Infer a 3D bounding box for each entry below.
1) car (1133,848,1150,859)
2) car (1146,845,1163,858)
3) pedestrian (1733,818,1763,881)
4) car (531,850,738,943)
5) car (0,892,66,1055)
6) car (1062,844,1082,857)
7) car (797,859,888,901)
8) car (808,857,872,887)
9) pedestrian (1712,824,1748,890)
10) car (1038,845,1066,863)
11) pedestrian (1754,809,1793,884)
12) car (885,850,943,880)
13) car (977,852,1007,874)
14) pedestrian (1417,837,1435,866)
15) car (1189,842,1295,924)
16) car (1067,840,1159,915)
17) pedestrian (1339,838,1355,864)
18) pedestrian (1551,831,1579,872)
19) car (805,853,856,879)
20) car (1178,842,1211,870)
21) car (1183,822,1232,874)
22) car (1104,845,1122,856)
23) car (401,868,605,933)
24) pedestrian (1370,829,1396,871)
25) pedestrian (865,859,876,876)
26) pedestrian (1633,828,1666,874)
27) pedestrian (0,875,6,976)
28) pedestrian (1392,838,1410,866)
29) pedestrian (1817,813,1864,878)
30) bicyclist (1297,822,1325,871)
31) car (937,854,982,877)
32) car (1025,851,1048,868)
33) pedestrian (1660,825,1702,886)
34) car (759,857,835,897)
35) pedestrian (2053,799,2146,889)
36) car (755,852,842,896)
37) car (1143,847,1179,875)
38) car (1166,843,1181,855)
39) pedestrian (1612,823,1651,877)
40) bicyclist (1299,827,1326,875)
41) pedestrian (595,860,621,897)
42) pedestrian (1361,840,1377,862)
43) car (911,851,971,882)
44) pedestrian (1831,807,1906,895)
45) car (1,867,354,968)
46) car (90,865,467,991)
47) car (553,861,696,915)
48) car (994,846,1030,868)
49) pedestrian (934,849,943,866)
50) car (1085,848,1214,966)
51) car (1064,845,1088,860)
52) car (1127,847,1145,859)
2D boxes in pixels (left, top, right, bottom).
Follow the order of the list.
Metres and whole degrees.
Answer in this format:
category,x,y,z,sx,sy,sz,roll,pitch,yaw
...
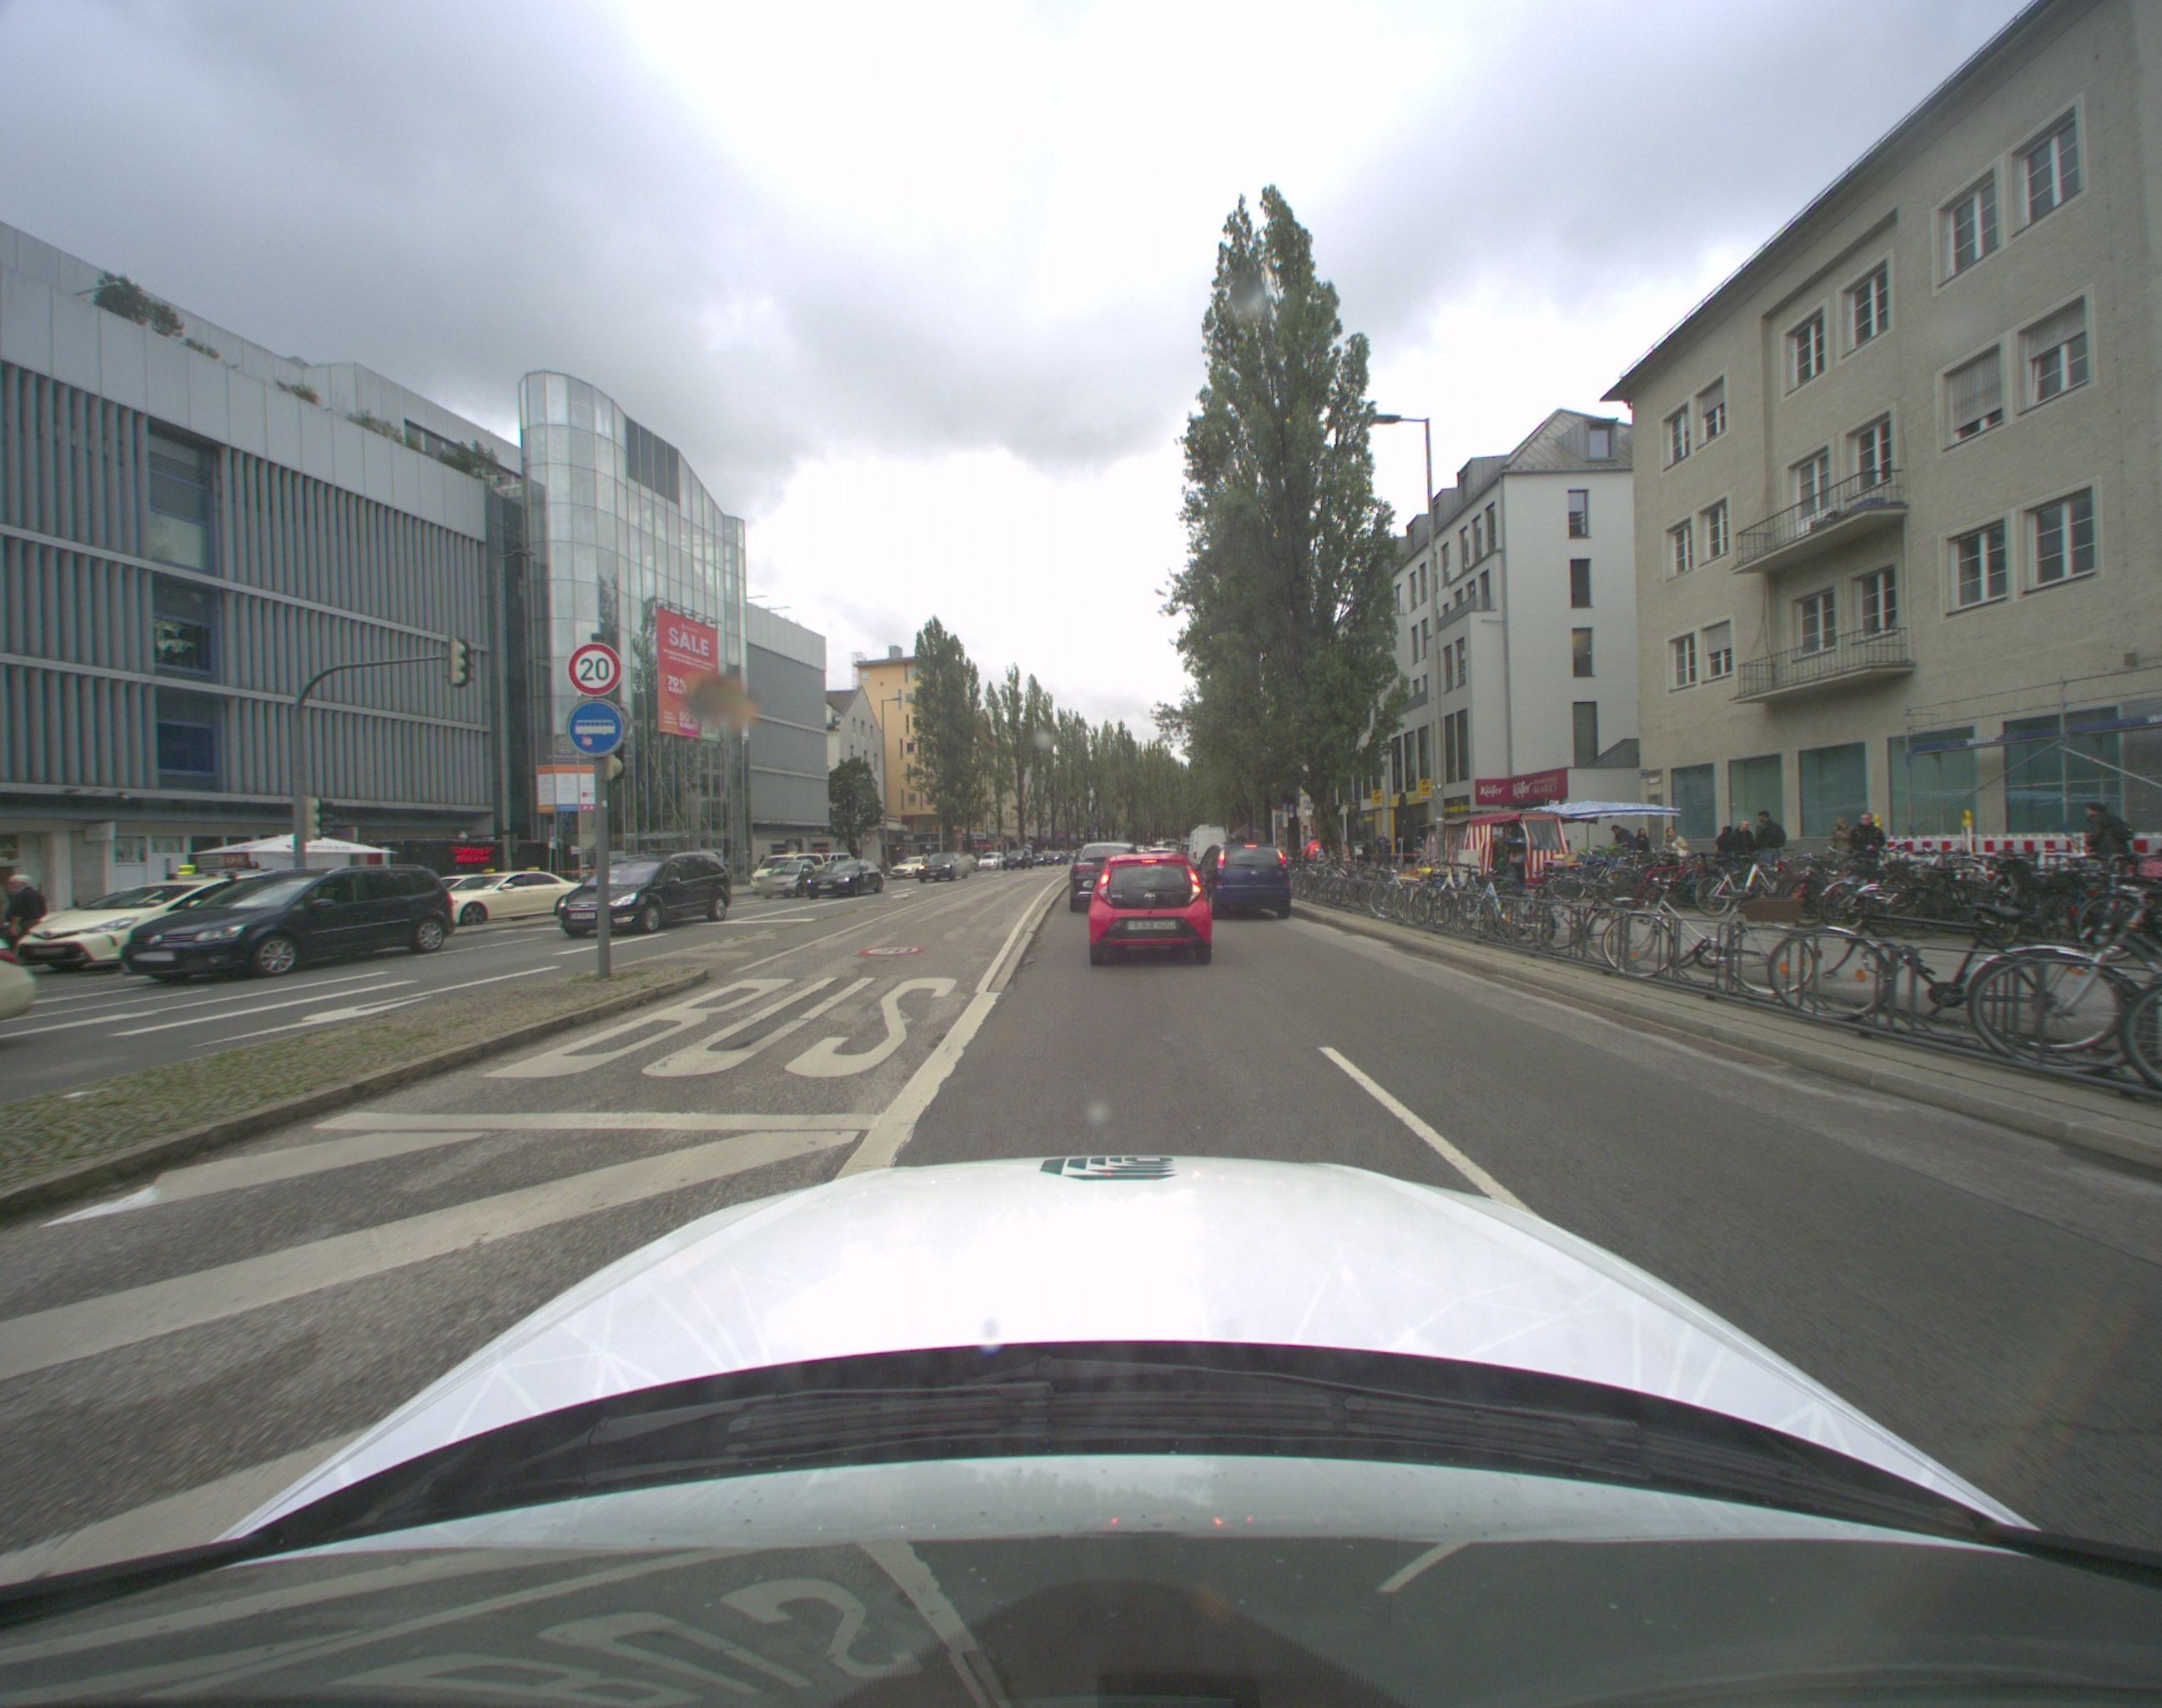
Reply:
category,x,y,z,sx,sy,sz,roll,pitch,yaw
car,9.862,-0.153,132.556,1.979,1.691,4.430,-2,0,14
car,8.084,-0.290,89.628,1.763,1.439,3.946,-2,0,7
pedestrian,16.041,-0.111,19.603,0.501,1.484,0.468,-2,0,36
car,-9.844,0.839,18.485,1.929,1.738,4.591,-3,0,2
car,-10.537,1.113,5.364,1.758,1.421,4.641,-2,0,2
car,-1.175,-0.497,112.182,1.982,1.691,4.933,-2,1,8
car,-9.104,0.940,31.526,1.837,1.382,4.606,-2,0,4
car,-14.013,1.017,47.610,1.984,1.655,4.540,1,0,5
pedestrian,15.126,0.075,18.998,0.573,1.505,0.620,-2,0,33
car,-2.888,-0.008,82.615,1.982,1.691,4.933,-2,0,8
pedestrian,15.823,-0.163,18.617,0.594,1.669,0.690,-2,0,36
car,-11.284,0.706,55.326,1.980,1.816,4.550,-3,1,13
car,-7.908,0.768,72.646,1.846,1.816,4.008,0,0,7
pedestrian,18.923,-0.115,44.685,0.710,1.558,0.676,-2,0,1
car,3.476,0.552,18.146,1.696,1.589,3.557,-2,1,1
car,0.742,0.511,20.112,1.987,1.618,4.001,-2,0,1
pedestrian,16.066,-0.196,49.188,0.710,1.558,0.676,-2,0,1
pedestrian,17.039,-0.101,28.668,0.596,1.402,0.580,-2,0,1
car,-18.642,0.839,60.884,1.858,1.772,4.254,-2,0,10
car,7.225,0.129,52.095,1.696,1.662,3.557,-1,0,1
car,7.057,-0.349,45.880,2.098,2.718,4.807,-2,0,2
car,5.039,-0.577,128.131,1.979,1.691,4.430,-2,0,14
car,-16.393,1.267,23.463,1.981,1.508,4.648,-2,0,10
pedestrian,12.626,-0.157,34.062,0.787,1.727,0.764,-2,0,1
pedestrian,-17.119,1.096,66.197,0.553,1.290,0.630,-2,0,12
pedestrian,17.732,-0.085,25.417,0.572,1.402,0.580,-2,0,1
pedestrian,-19.097,1.257,14.224,0.441,1.759,0.358,-2,0,37
pedestrian,17.687,-0.115,44.993,0.710,1.558,0.676,-2,0,1
pedestrian,19.534,-0.221,20.945,0.638,1.644,0.563,-2,0,1
bicyclist,9.079,-0.296,32.227,0.759,1.869,1.133,-2,0,2
car,-9.363,0.862,63.097,1.980,1.609,4.548,-2,0,12
car,-4.838,0.563,89.276,1.846,1.816,4.008,0,0,7
pedestrian,15.386,0.037,20.918,0.801,1.522,0.805,-2,0,34
car,-11.638,0.959,33.576,1.616,1.552,3.389,-2,-2,6
pedestrian,18.360,-0.176,14.701,0.646,1.568,0.788,-2,0,2
car,-14.356,0.947,41.753,1.984,2.013,5.532,-2,0,6
car,4.483,0.364,45.836,1.694,1.426,3.497,-2,0,1
car,14.297,-0.791,125.239,1.981,1.837,4.011,-2,0,10
pedestrian,14.993,-0.110,22.182,0.612,1.425,0.660,-2,0,6
bicyclist,8.176,-0.117,28.798,0.611,1.657,1.251,-2,0,2
pedestrian,-21.712,1.119,37.401,0.646,1.691,0.714,-2,0,14
pedestrian,16.795,-0.180,47.523,0.636,1.306,0.676,-2,0,1
car,-7.642,0.653,44.988,1.983,1.534,4.597,-2,0,7
pedestrian,16.117,-0.061,16.676,0.739,1.727,0.758,-3,0,1
car,-17.318,1.124,16.033,1.894,1.543,4.395,-2,0,2
car,-12.817,1.068,13.495,1.831,1.613,4.262,-2,0,4
car,-15.833,1.129,28.504,1.979,1.679,4.199,-1,0,14
car,-5.590,0.243,66.586,1.983,1.691,4.930,-1,0,7
pedestrian,-16.020,0.405,91.294,0.683,1.810,0.768,-2,0,13
car,0.939,0.666,11.933,1.598,1.461,3.132,-2,0,2
car,-0.547,-0.144,95.484,1.982,1.691,4.932,0,0,8
car,8.410,-0.161,124.757,1.979,1.691,4.430,-2,0,14
